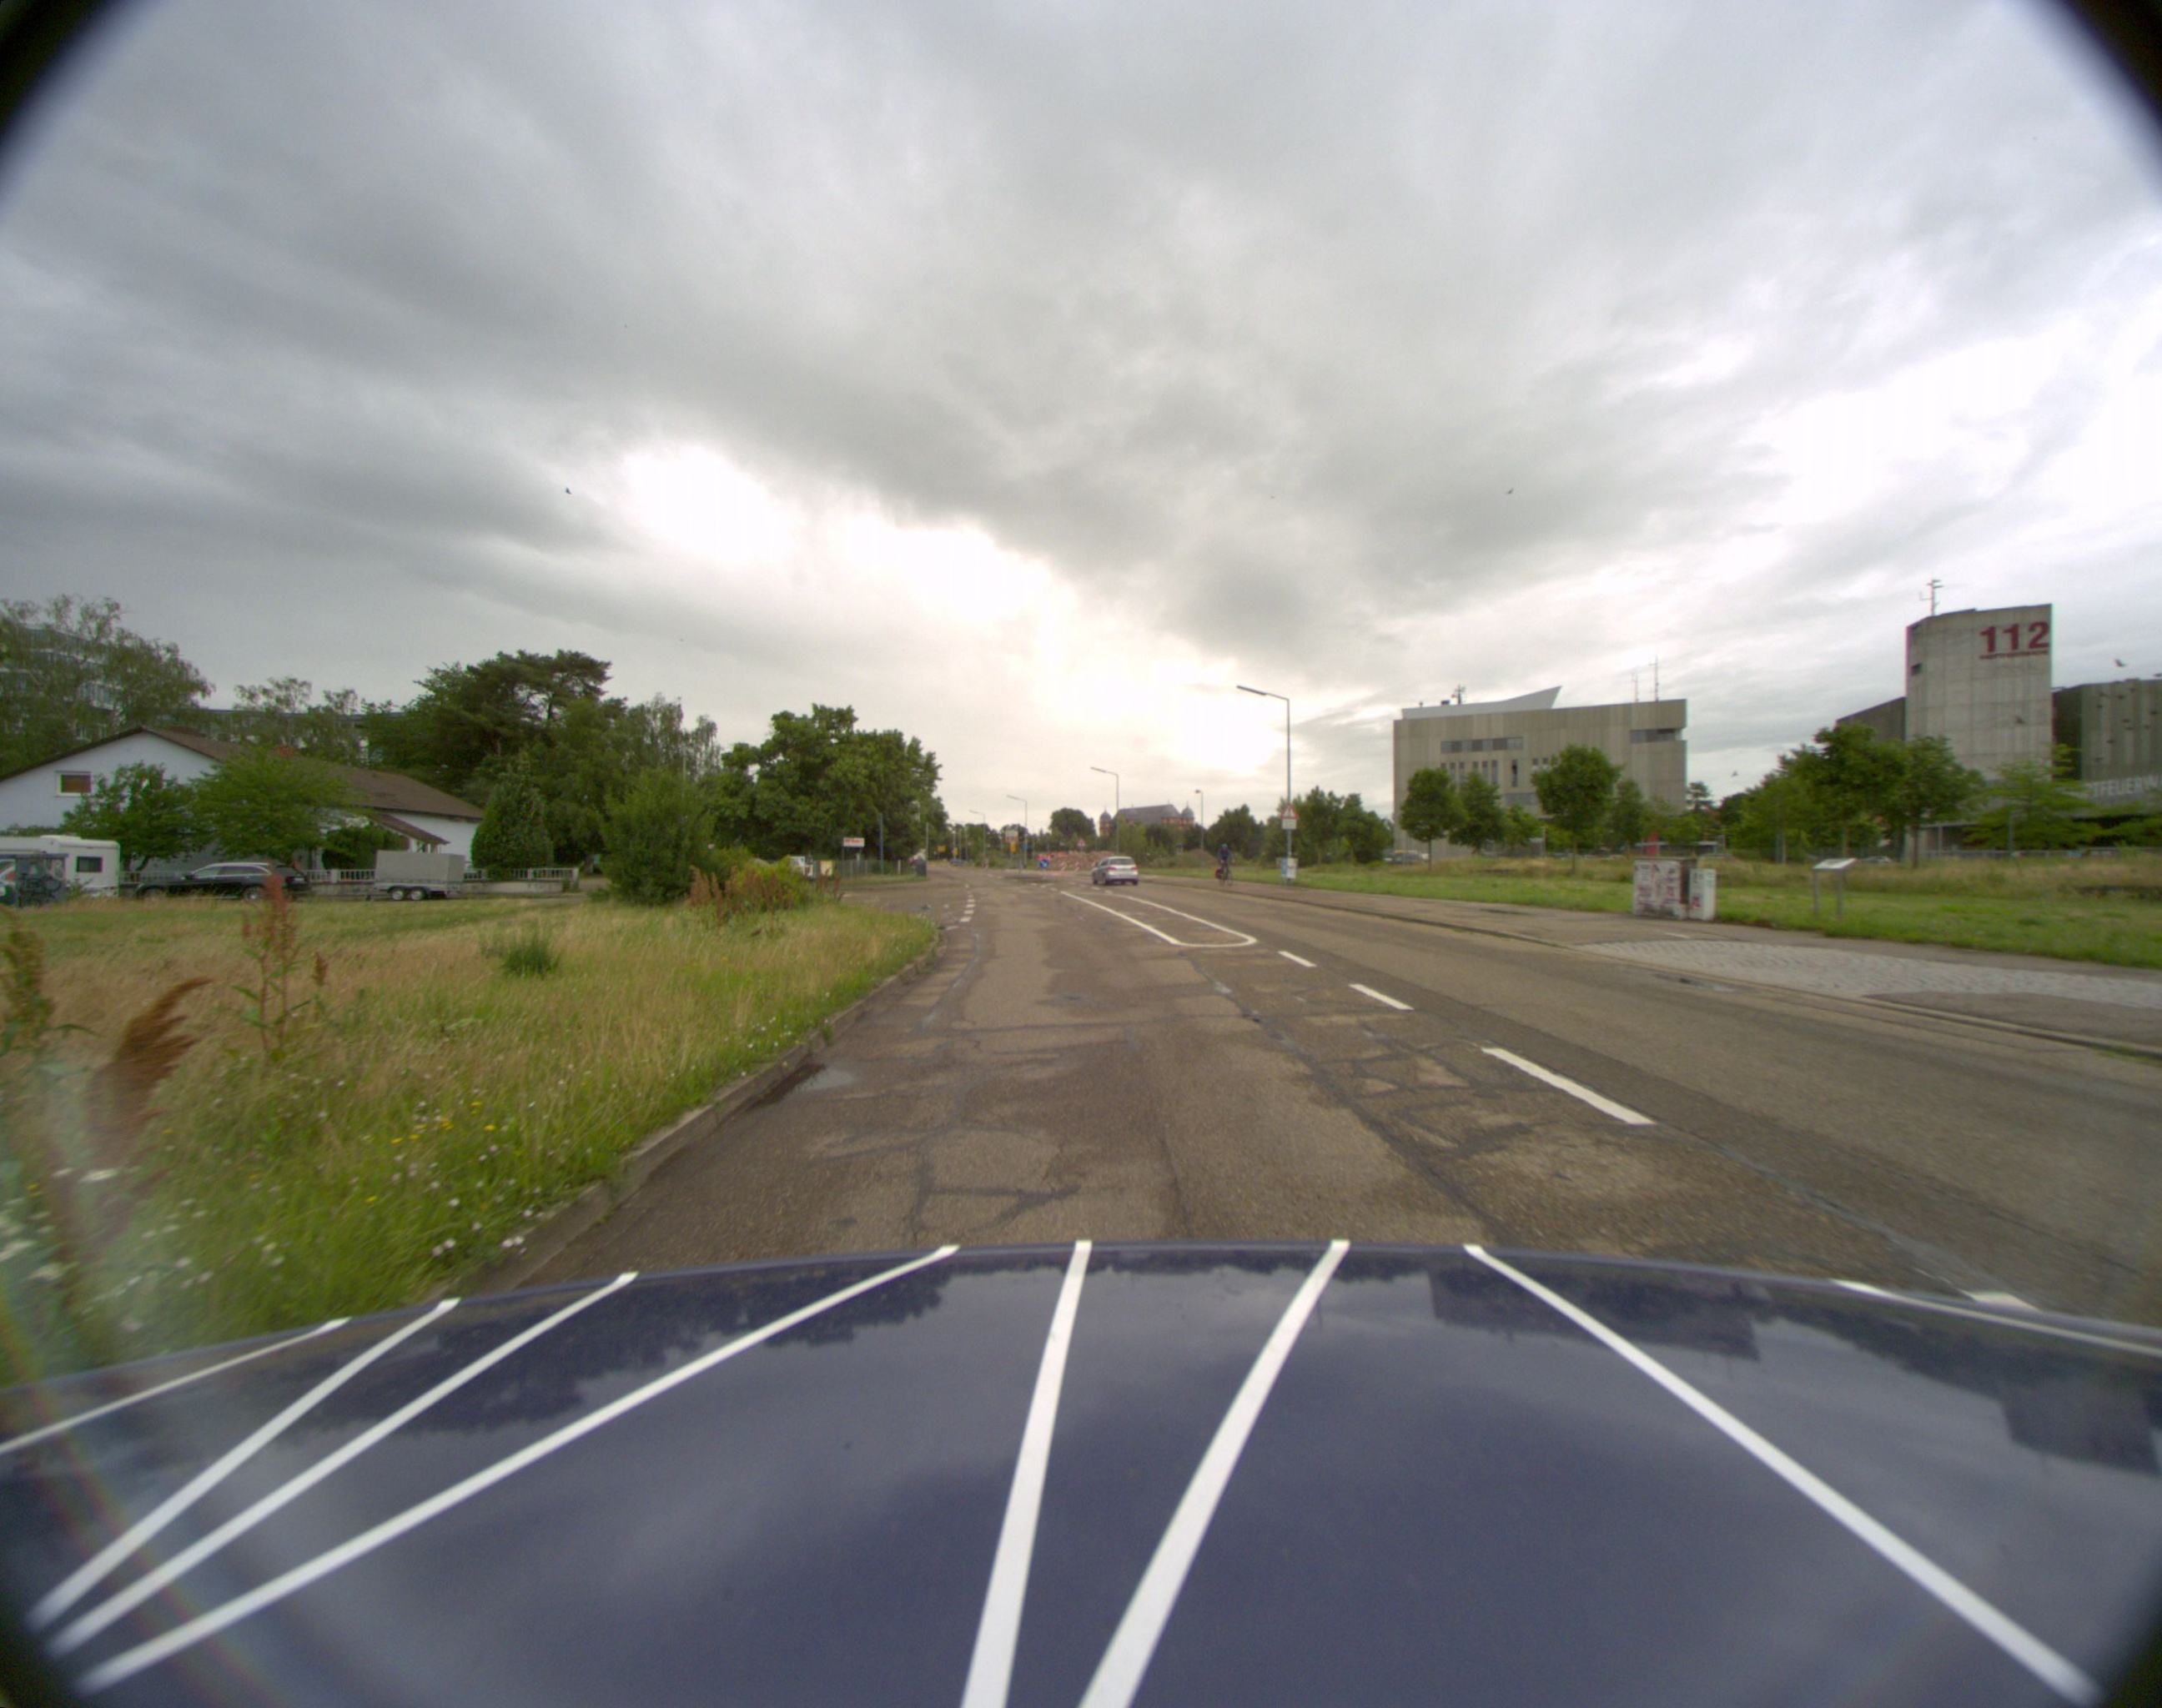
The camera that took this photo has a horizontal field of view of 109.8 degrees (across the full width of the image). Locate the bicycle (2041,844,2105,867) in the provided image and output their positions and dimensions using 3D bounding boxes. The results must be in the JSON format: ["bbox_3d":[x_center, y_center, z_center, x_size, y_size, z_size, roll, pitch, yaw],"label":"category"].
[{"bbox_3d":[69.935,0.101,53.598,2.494,1.574,1.089,-1,-1,24],"label":"bicycle"}]

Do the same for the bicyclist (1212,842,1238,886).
[{"bbox_3d":[6.558,0.462,34.671,0.864,2.001,1.177,0,-1,-8],"label":"bicyclist"}]

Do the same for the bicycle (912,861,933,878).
[{"bbox_3d":[-10.592,1.016,50.777,0.797,1.104,1.953,0,0,7],"label":"bicycle"}]

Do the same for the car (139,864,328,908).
[{"bbox_3d":[-33.199,1.219,29.937,4.597,1.630,1.997,0,-1,-17],"label":"car"}]

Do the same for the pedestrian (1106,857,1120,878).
[{"bbox_3d":[2.669,1.134,63.242,0.847,1.772,1.075,0,-1,-18],"label":"pedestrian"}]

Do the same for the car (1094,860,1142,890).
[{"bbox_3d":[1.889,1.071,39.933,1.677,1.453,4.053,-2,0,-9],"label":"car"}]

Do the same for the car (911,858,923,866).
[{"bbox_3d":[-32.003,1.565,148.284,1.888,1.557,4.353,0,-1,-15],"label":"car"}]

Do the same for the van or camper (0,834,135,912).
[{"bbox_3d":[-39.621,0.711,28.222,5.183,2.815,2.413,0,-1,-15],"label":"van or camper"}]

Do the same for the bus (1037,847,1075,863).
[{"bbox_3d":[-6.533,0.275,196.981,9.864,3.958,2.740,-1,-1,30],"label":"bus"}]

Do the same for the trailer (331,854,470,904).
[{"bbox_3d":[-28.399,1.013,31.863,4.002,2.001,1.641,0,-1,-17],"label":"trailer"}]

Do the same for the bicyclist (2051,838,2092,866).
[{"bbox_3d":[69.910,-0.136,53.649,1.399,1.888,1.079,-1,-1,23],"label":"bicyclist"}]

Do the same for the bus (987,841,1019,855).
[{"bbox_3d":[-21.030,-1.636,204.986,8.376,3.626,2.740,-1,-1,30],"label":"bus"}]

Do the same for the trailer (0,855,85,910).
[{"bbox_3d":[-31.802,0.813,21.475,4.123,1.523,1.756,0,-1,-19],"label":"trailer"}]

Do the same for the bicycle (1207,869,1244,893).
[{"bbox_3d":[6.559,1.200,34.659,0.886,1.046,2.467,0,-1,-9],"label":"bicycle"}]
